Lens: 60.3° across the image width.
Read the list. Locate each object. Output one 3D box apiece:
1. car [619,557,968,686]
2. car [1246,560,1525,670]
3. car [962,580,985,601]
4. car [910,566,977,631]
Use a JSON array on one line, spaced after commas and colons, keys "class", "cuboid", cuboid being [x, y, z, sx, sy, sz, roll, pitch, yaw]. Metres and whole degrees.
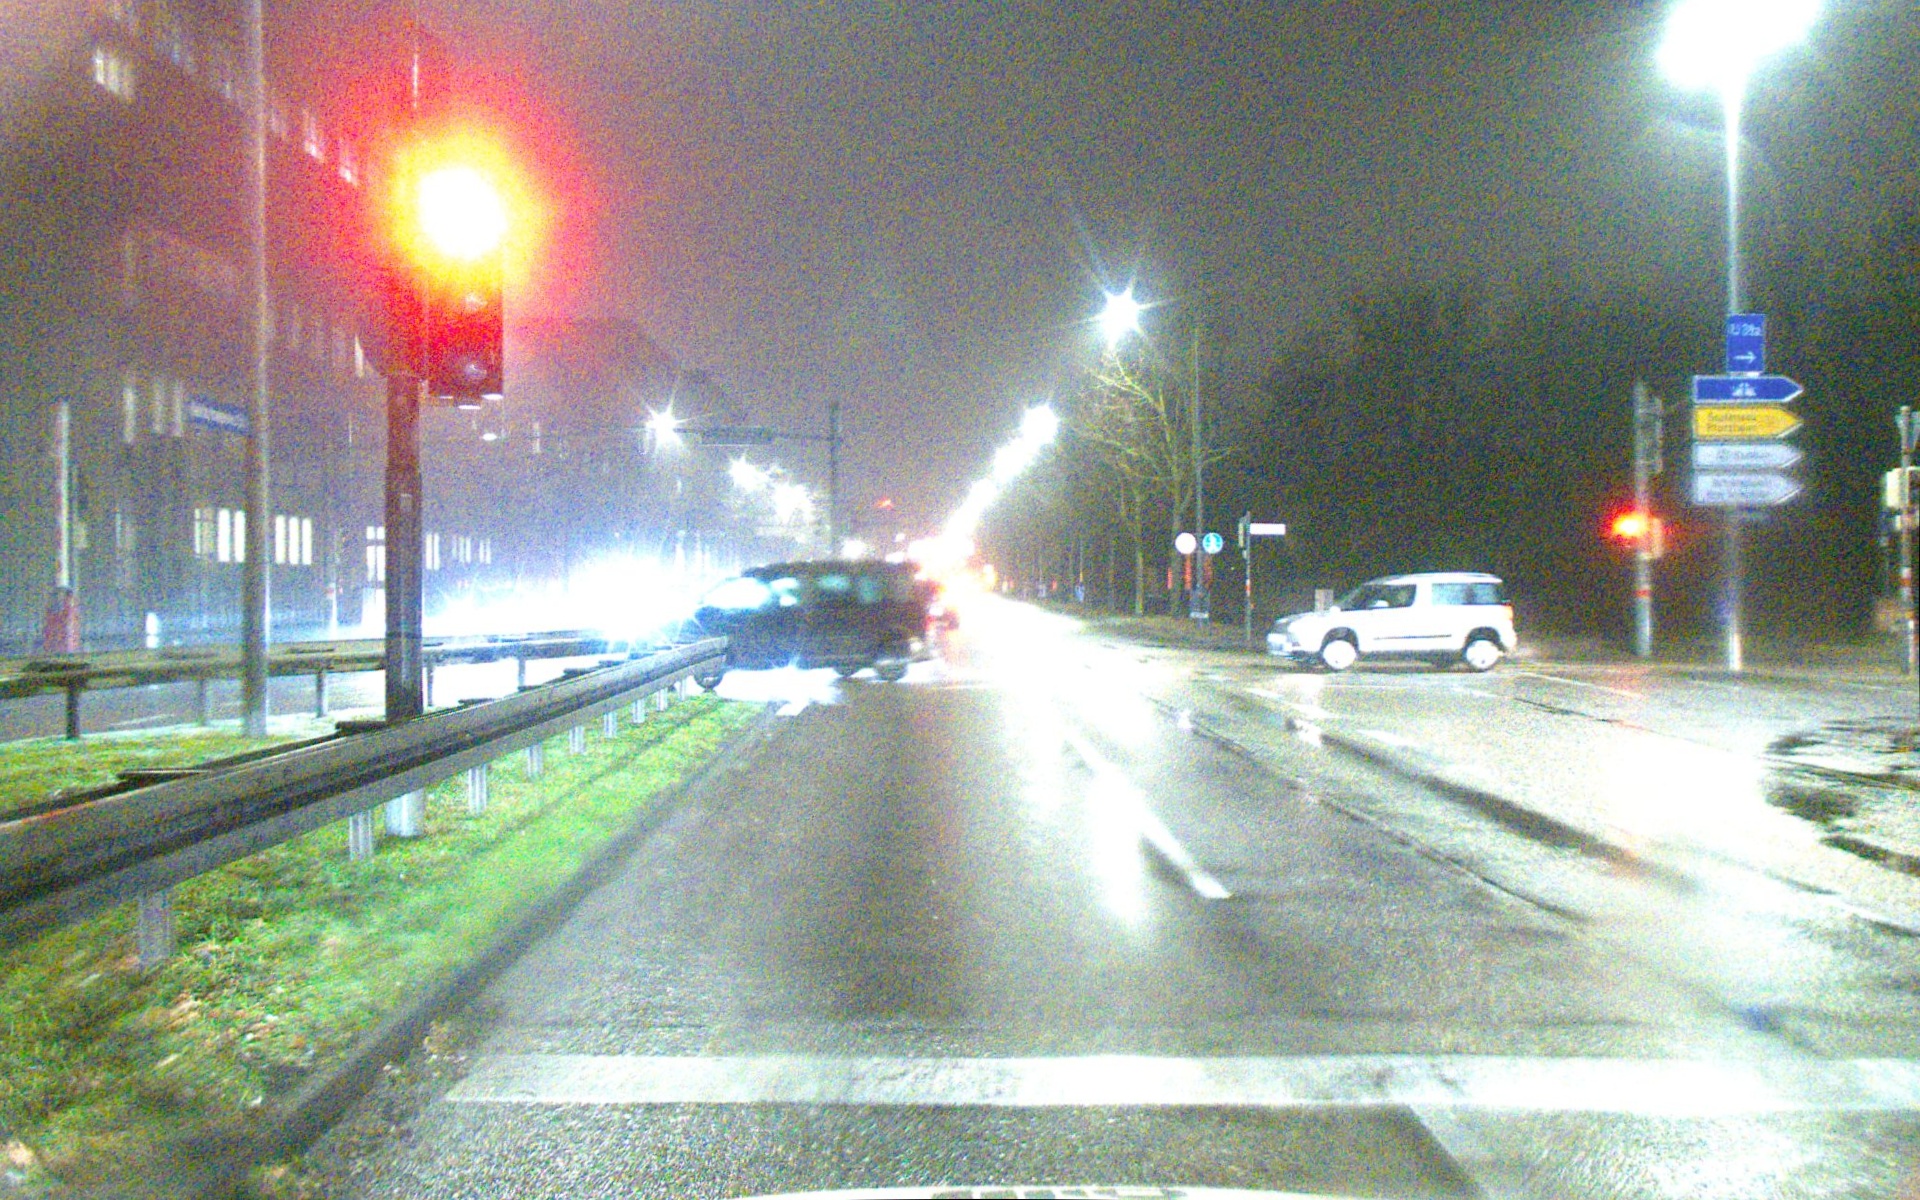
[{"class": "car", "cuboid": [-2.462, 0.331, 24.828, 4.848, 1.771, 1.952, 1, 0, -29]}, {"class": "car", "cuboid": [7.316, 0.253, 28.684, 4.297, 1.771, 1.909, 1, 0, -4]}, {"class": "car", "cuboid": [1.218, -0.865, 150.460, 1.953, 1.790, 3.999, 1, 0, -1]}, {"class": "car", "cuboid": [-0.612, -0.038, 55.703, 1.954, 2.049, 4.628, 1, 0, -4]}]
